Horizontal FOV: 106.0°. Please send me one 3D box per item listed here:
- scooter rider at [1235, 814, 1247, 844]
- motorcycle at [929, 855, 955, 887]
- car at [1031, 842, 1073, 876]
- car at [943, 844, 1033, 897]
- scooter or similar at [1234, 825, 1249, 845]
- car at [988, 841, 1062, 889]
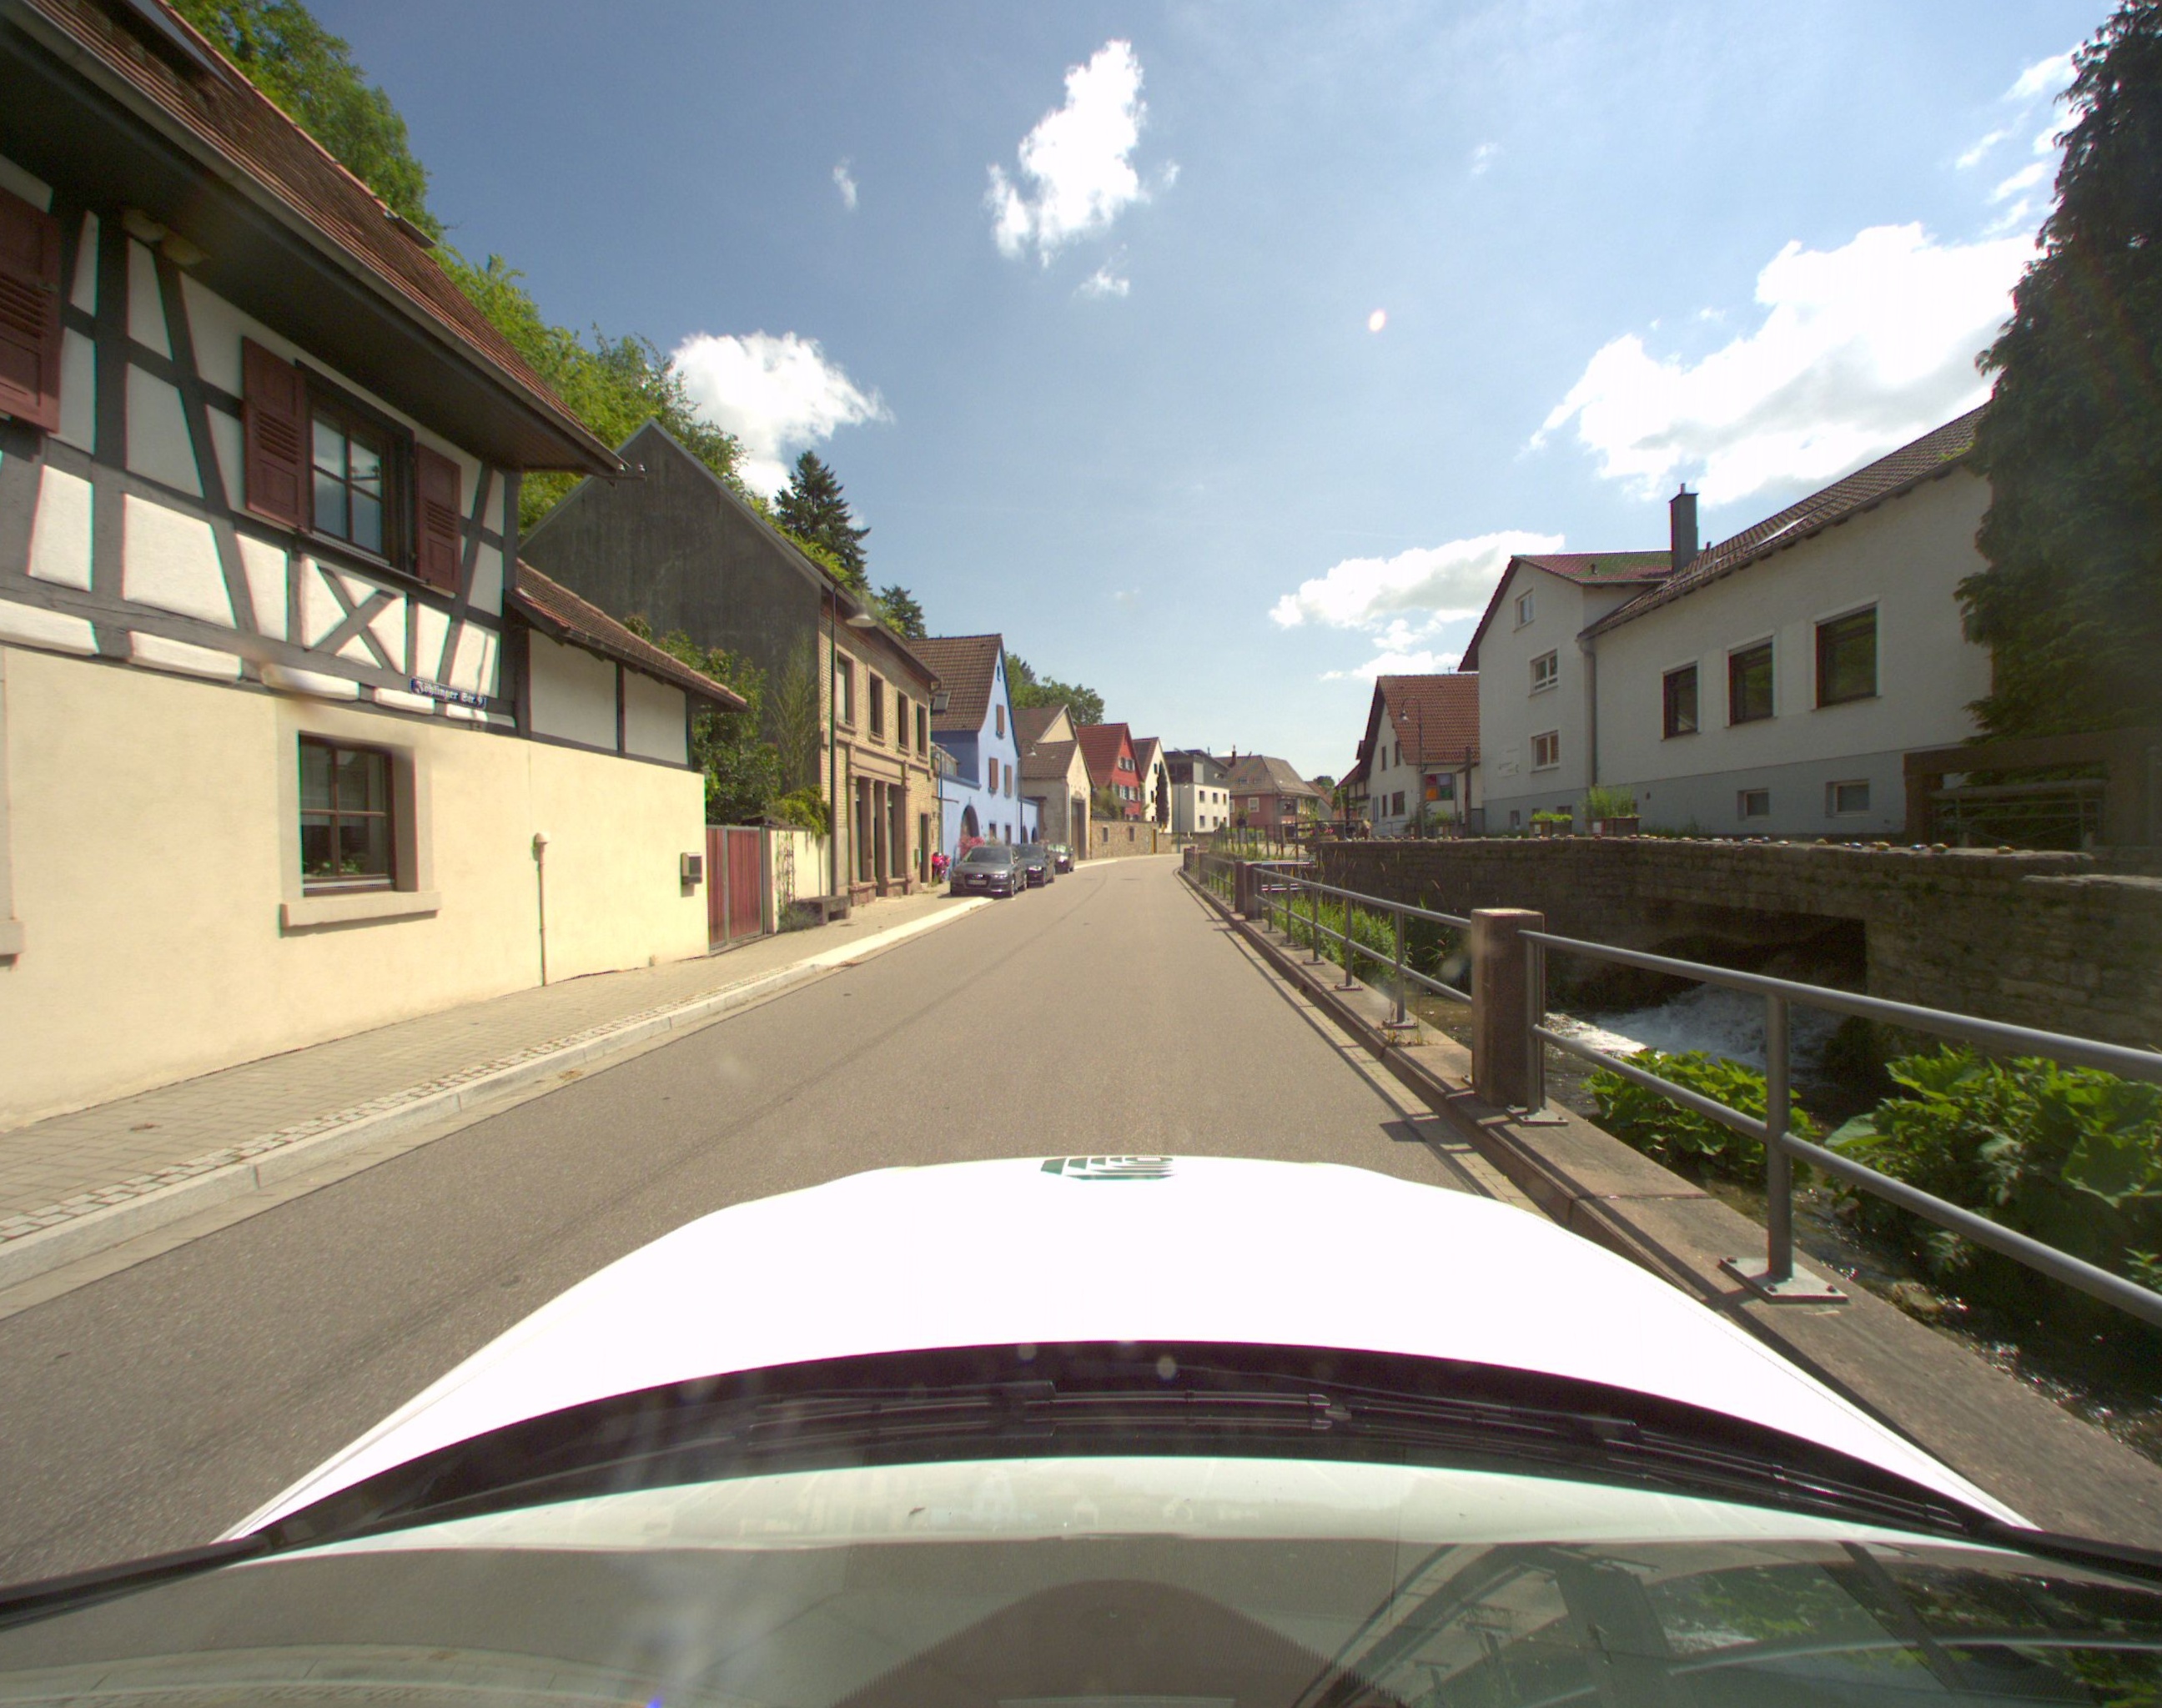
[{"bbox_3d":[9.375,-1.446,47.714,0.638,1.731,0.555,0,0,5],"label":"scooter rider"},{"bbox_3d":[-4.789,0.572,28.178,0.416,1.001,1.860,4,1,3],"label":"motorcycle"},{"bbox_3d":[-1.372,0.220,39.968,1.710,1.530,3.859,-2,1,2],"label":"car"},{"bbox_3d":[-2.704,0.440,24.754,1.948,1.465,4.550,0,0,3],"label":"car"},{"bbox_3d":[9.361,-1.119,47.570,0.638,1.142,1.814,-2,0,5],"label":"scooter or similar"},{"bbox_3d":[-1.940,0.331,29.538,1.876,1.463,4.676,2,2,5],"label":"car"}]
